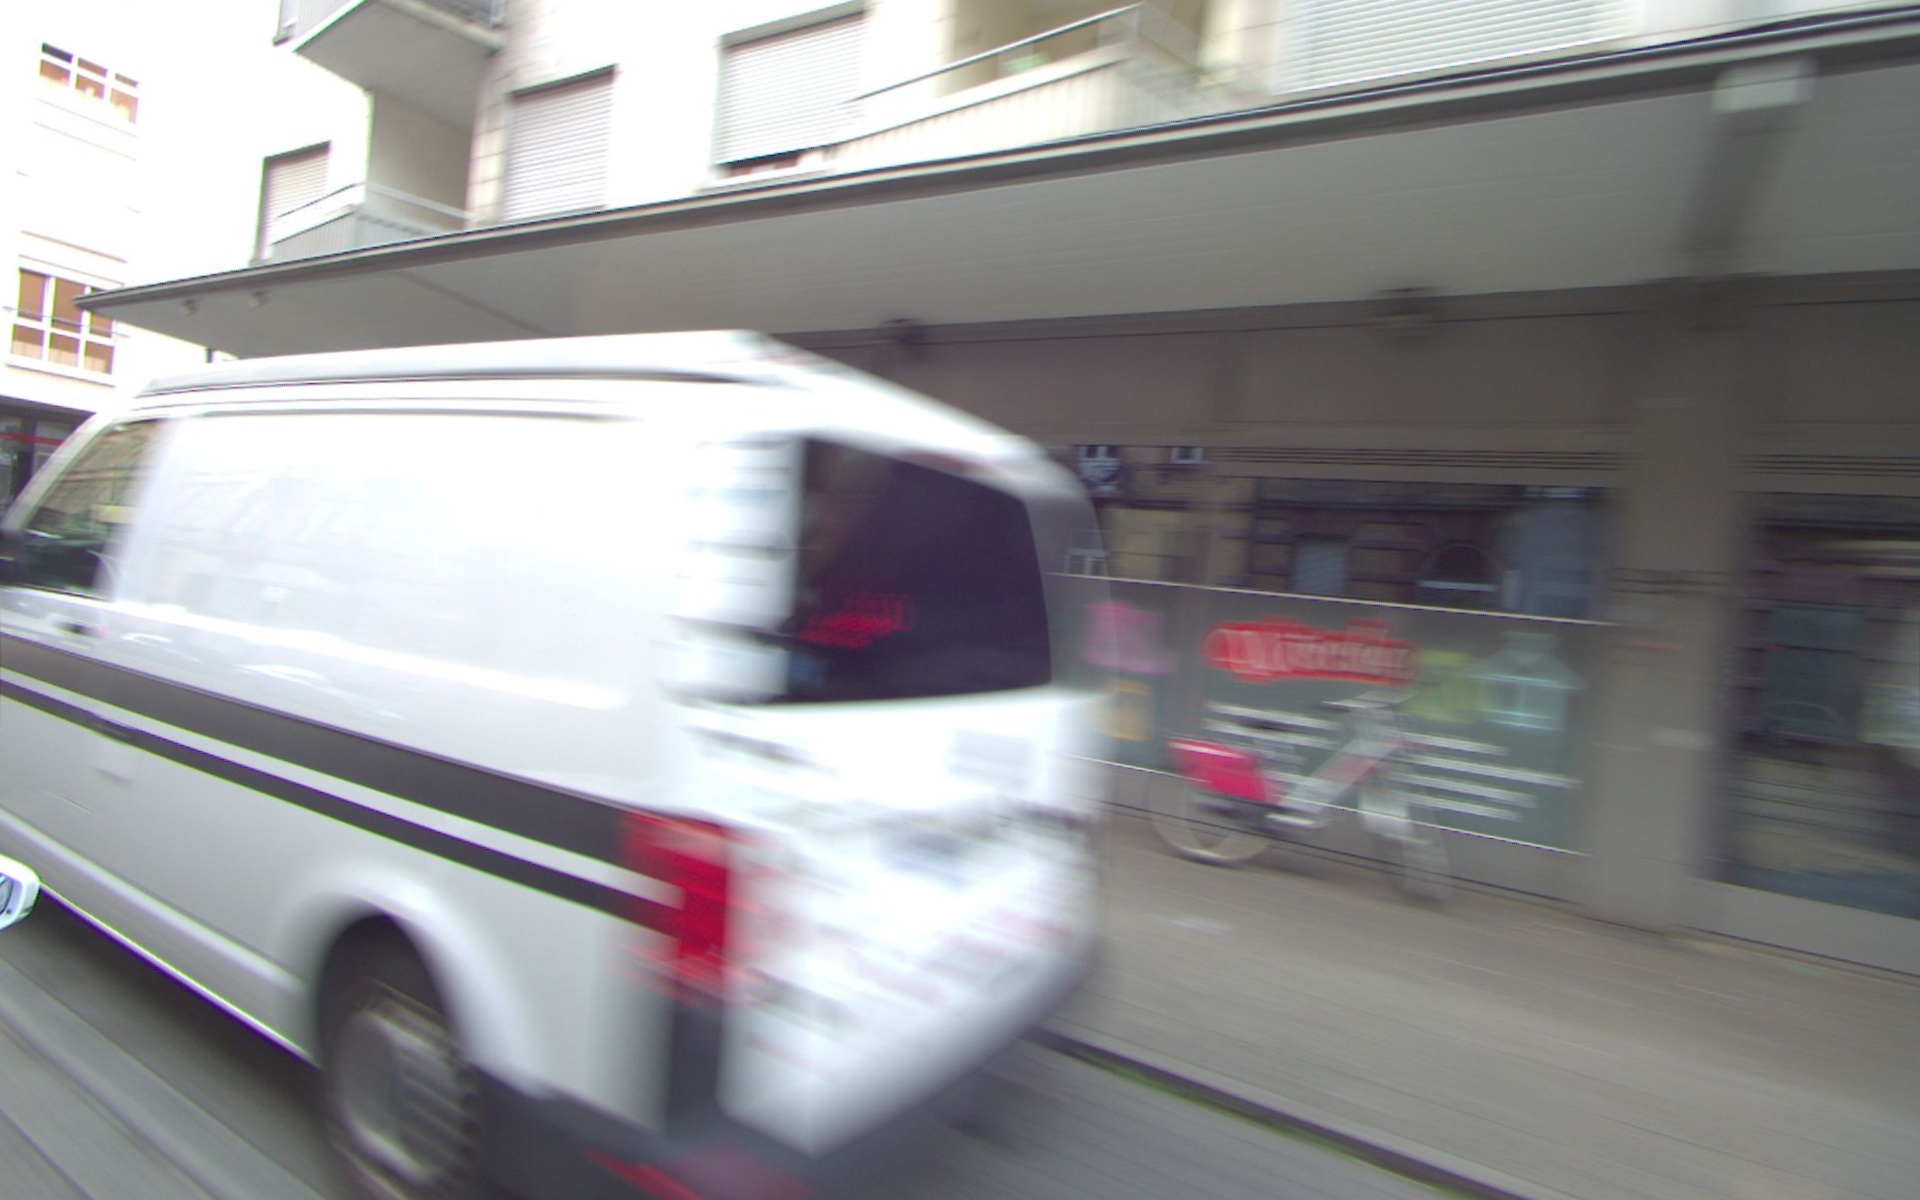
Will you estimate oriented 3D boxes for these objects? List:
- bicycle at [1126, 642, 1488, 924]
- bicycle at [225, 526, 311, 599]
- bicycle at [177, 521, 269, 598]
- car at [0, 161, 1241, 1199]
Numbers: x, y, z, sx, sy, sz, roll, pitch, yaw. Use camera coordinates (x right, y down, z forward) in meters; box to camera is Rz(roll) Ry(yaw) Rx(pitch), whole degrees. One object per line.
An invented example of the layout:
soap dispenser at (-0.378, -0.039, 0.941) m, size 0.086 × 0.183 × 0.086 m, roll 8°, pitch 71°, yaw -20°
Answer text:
bicycle at (1.890, 0.941, 5.674) m, size 1.679 × 1.212 × 0.912 m, roll 5°, pitch 2°, yaw 17°
bicycle at (-11.287, -0.624, 16.392) m, size 1.730 × 1.080 × 0.562 m, roll 5°, pitch 0°, yaw 36°
bicycle at (-11.600, -0.649, 15.807) m, size 1.934 × 1.080 × 0.562 m, roll 5°, pitch 0°, yaw 36°
car at (-1.823, 0.179, 3.560) m, size 4.919 × 2.000 × 1.959 m, roll 7°, pitch 2°, yaw 31°
